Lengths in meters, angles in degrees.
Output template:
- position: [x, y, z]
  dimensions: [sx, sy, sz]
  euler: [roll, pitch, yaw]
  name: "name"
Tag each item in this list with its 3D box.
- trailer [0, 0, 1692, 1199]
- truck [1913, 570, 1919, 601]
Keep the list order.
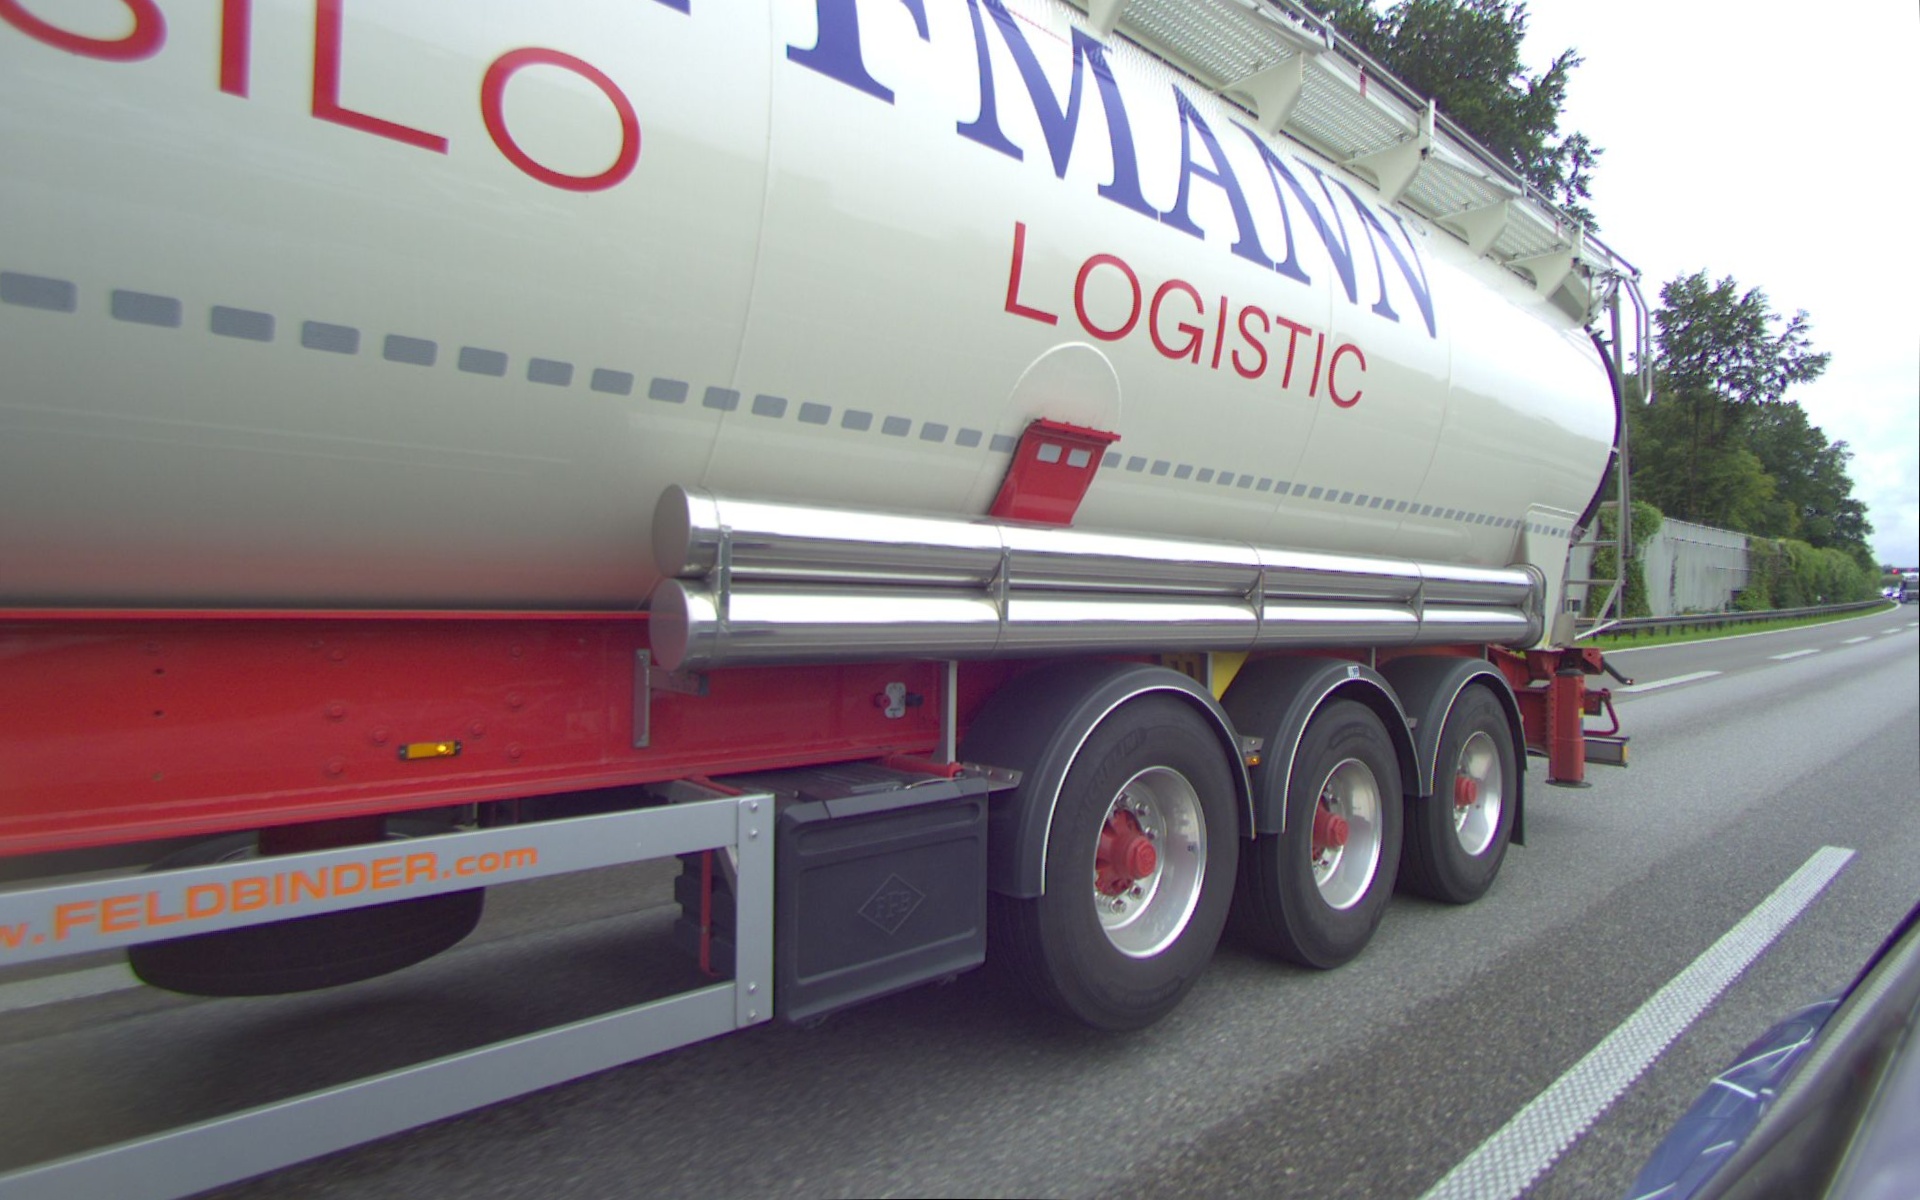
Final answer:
- position: [-0.780, -0.618, 3.598]
  dimensions: [12.901, 3.988, 2.673]
  euler: [0, 0, -41]
  name: "trailer"
- position: [120.684, -1.813, 125.866]
  dimensions: [2.700, 3.757, 8.121]
  euler: [1, 2, 41]
  name: "truck"
